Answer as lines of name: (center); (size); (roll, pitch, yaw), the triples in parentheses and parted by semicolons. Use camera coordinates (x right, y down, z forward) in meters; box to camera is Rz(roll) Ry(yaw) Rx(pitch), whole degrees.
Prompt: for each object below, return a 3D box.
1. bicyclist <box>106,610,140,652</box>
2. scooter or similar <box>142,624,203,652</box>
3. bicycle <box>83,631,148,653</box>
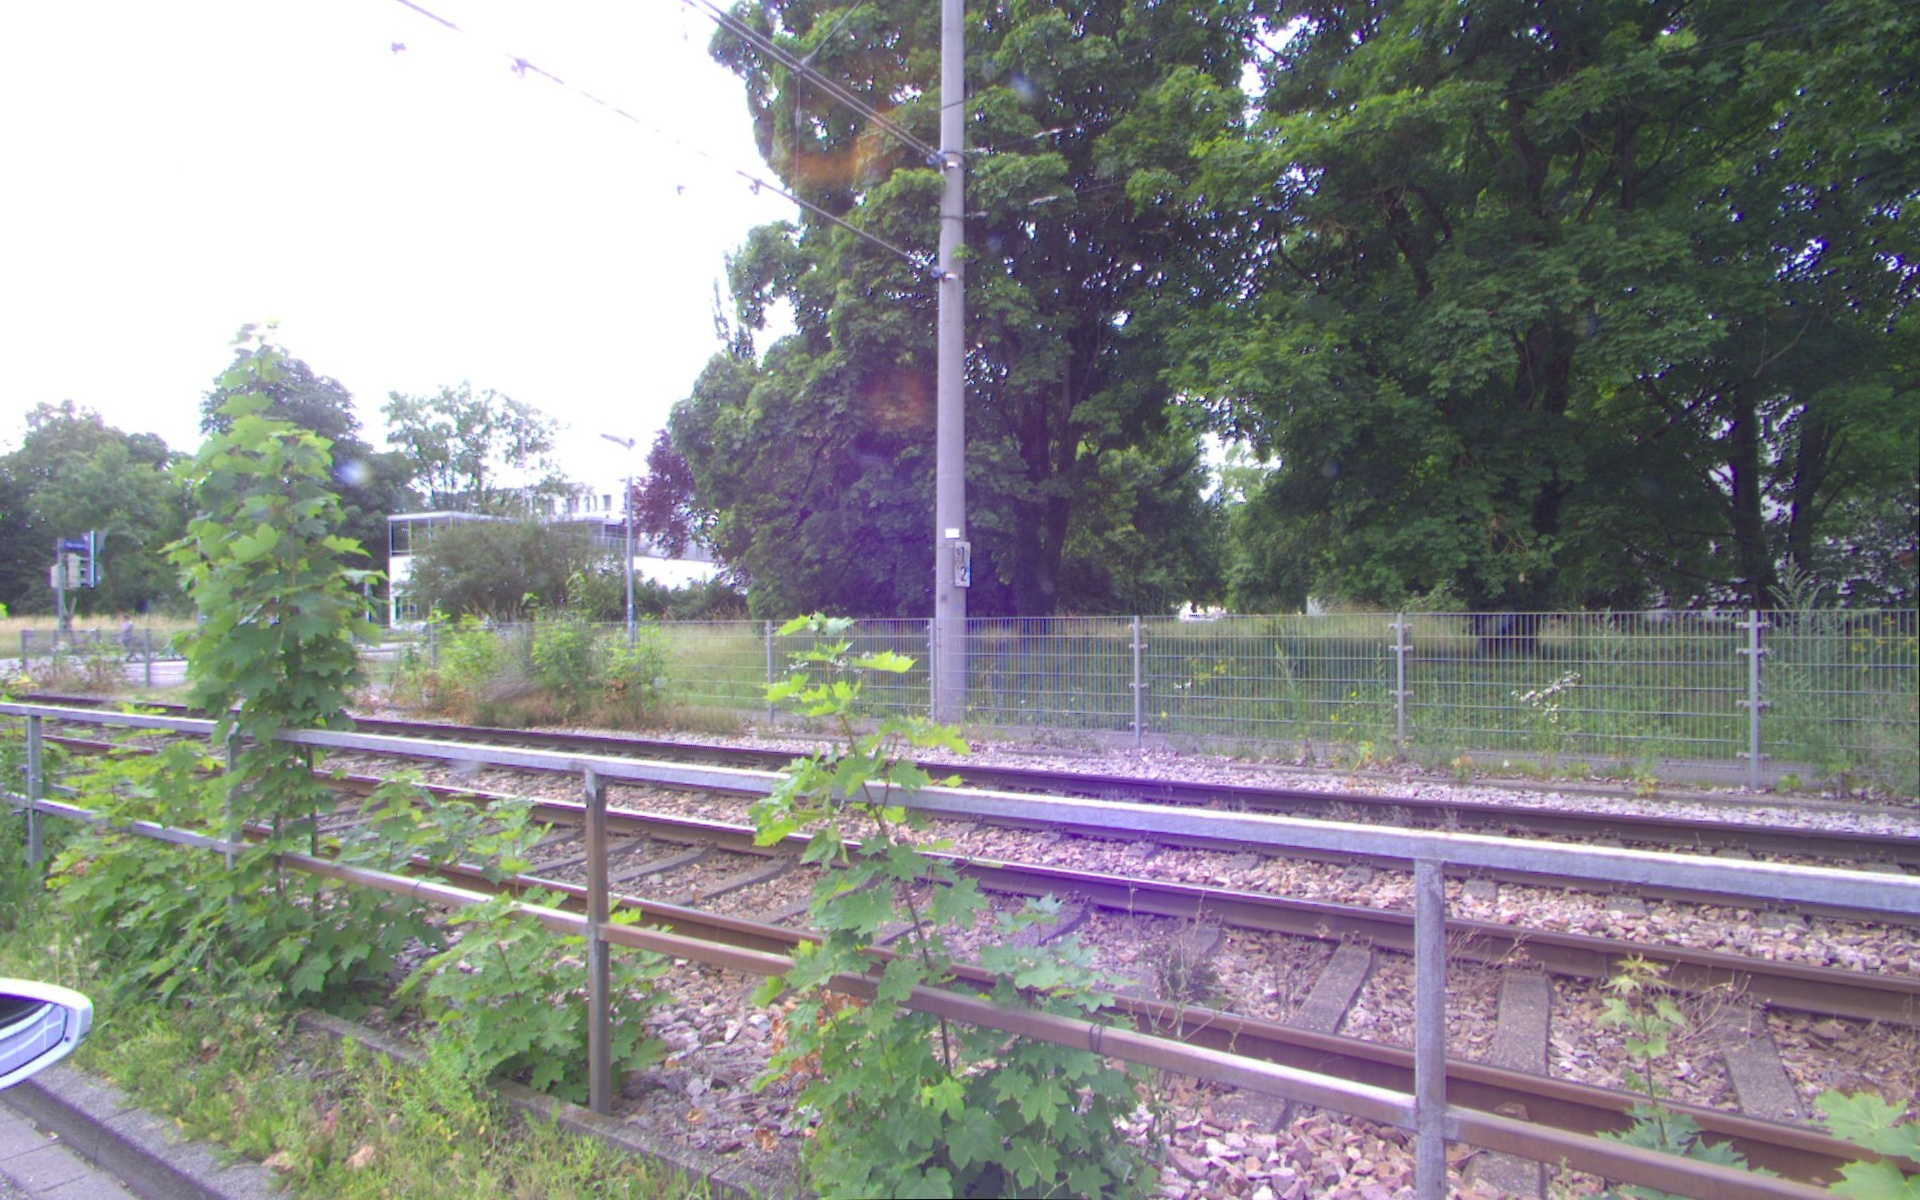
bicyclist: (-30.496, 1.121, 36.497); (0.449, 1.495, 0.837); (-1, 0, 34)
scooter or similar: (-29.663, 1.423, 37.728); (0.949, 0.992, 1.570); (-1, 0, 34)
bicycle: (-30.633, 1.519, 36.352); (0.548, 0.775, 1.718); (-1, -2, 34)
